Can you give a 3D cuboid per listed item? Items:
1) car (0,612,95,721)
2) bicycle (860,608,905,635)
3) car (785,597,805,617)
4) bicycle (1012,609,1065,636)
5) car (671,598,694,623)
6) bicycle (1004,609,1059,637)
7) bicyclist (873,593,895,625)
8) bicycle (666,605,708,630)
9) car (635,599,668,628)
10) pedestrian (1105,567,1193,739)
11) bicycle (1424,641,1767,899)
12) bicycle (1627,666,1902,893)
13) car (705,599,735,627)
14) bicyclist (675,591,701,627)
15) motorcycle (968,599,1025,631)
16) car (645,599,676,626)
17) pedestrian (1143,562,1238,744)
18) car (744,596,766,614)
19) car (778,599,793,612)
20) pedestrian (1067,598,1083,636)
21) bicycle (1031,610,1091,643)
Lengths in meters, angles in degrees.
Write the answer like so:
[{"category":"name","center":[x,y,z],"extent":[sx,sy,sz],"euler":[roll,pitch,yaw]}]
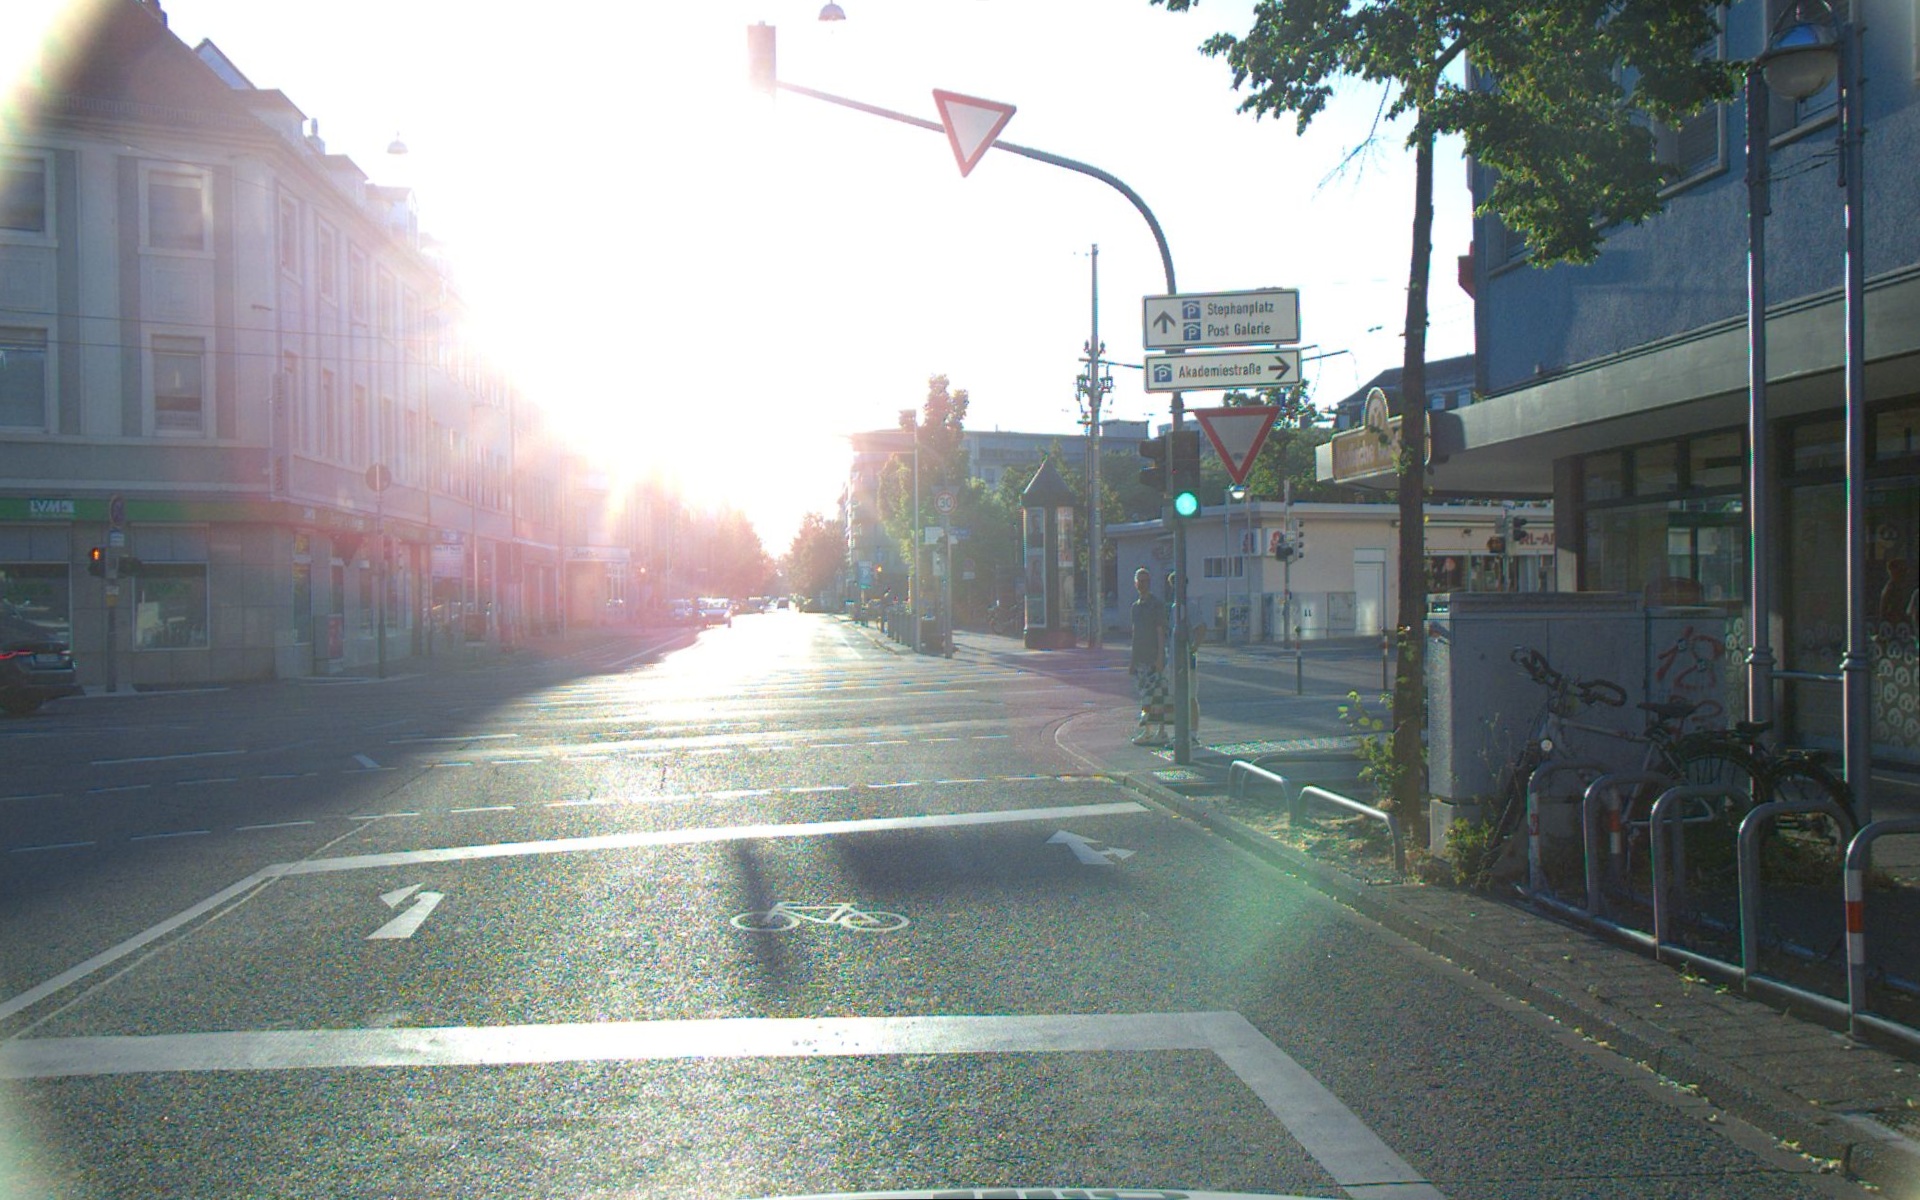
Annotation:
[{"category":"car","center":[-15.316,0.985,24.120],"extent":[4.432,1.506,1.898],"euler":[-1,-1,5]},{"category":"bicycle","center":[-3.685,1.020,78.779],"extent":[2.072,1.225,0.501],"euler":[1,-1,12]},{"category":"car","center":[-17.551,0.732,175.958],"extent":[1.954,2.049,3.996],"euler":[1,-1,-5]},{"category":"bicycle","center":[2.967,0.872,62.694],"extent":[1.996,0.994,0.560],"euler":[-1,-1,2]},{"category":"car","center":[-17.855,0.674,106.368],"extent":[1.282,1.610,2.884],"euler":[0,-1,-7]},{"category":"bicycle","center":[2.635,0.855,61.161],"extent":[2.034,0.999,0.560],"euler":[-1,-1,2]},{"category":"bicyclist","center":[-3.634,0.428,78.773],"extent":[0.880,1.507,0.735],"euler":[1,-1,12]},{"category":"bicycle","center":[-13.932,0.907,84.475],"extent":[2.072,1.225,0.500],"euler":[1,-1,15]},{"category":"car","center":[-16.946,0.732,91.063],"extent":[1.515,1.509,3.347],"euler":[-1,0,-7]},{"category":"pedestrian","center":[2.033,0.552,17.789],"extent":[0.580,1.804,0.740],"euler":[0,0,-37]},{"category":"bicycle","center":[3.209,0.830,8.372],"extent":[1.627,1.215,0.476],"euler":[0,0,-12]},{"category":"bicycle","center":[4.322,0.921,9.014],"extent":[0.396,1.028,1.665],"euler":[-2,1,-11]},{"category":"car","center":[-13.180,0.734,90.796],"extent":[1.515,1.493,3.347],"euler":[0,-1,-7]},{"category":"bicyclist","center":[-13.892,0.450,84.484],"extent":[1.105,1.822,0.765],"euler":[1,-1,15]},{"category":"motorcycle","center":[1.413,0.580,64.159],"extent":[2.189,1.222,0.720],"euler":[-1,0,-1]},{"category":"car","center":[-17.134,0.729,94.703],"extent":[1.515,1.495,3.347],"euler":[0,-1,-7]},{"category":"pedestrian","center":[2.359,0.523,16.942],"extent":[0.630,1.804,0.743],"euler":[-1,0,-27]},{"category":"car","center":[-20.218,0.448,163.216],"extent":[1.954,1.713,3.997],"euler":[-1,0,-4]},{"category":"car","center":[-25.759,0.805,244.299],"extent":[1.954,1.848,3.996],"euler":[2,-1,-4]},{"category":"pedestrian","center":[5.173,0.769,74.639],"extent":[0.666,1.686,0.696],"euler":[1,-1,2]},{"category":"bicycle","center":[3.375,0.884,55.367],"extent":[1.978,1.062,0.560],"euler":[-1,-1,2]}]
